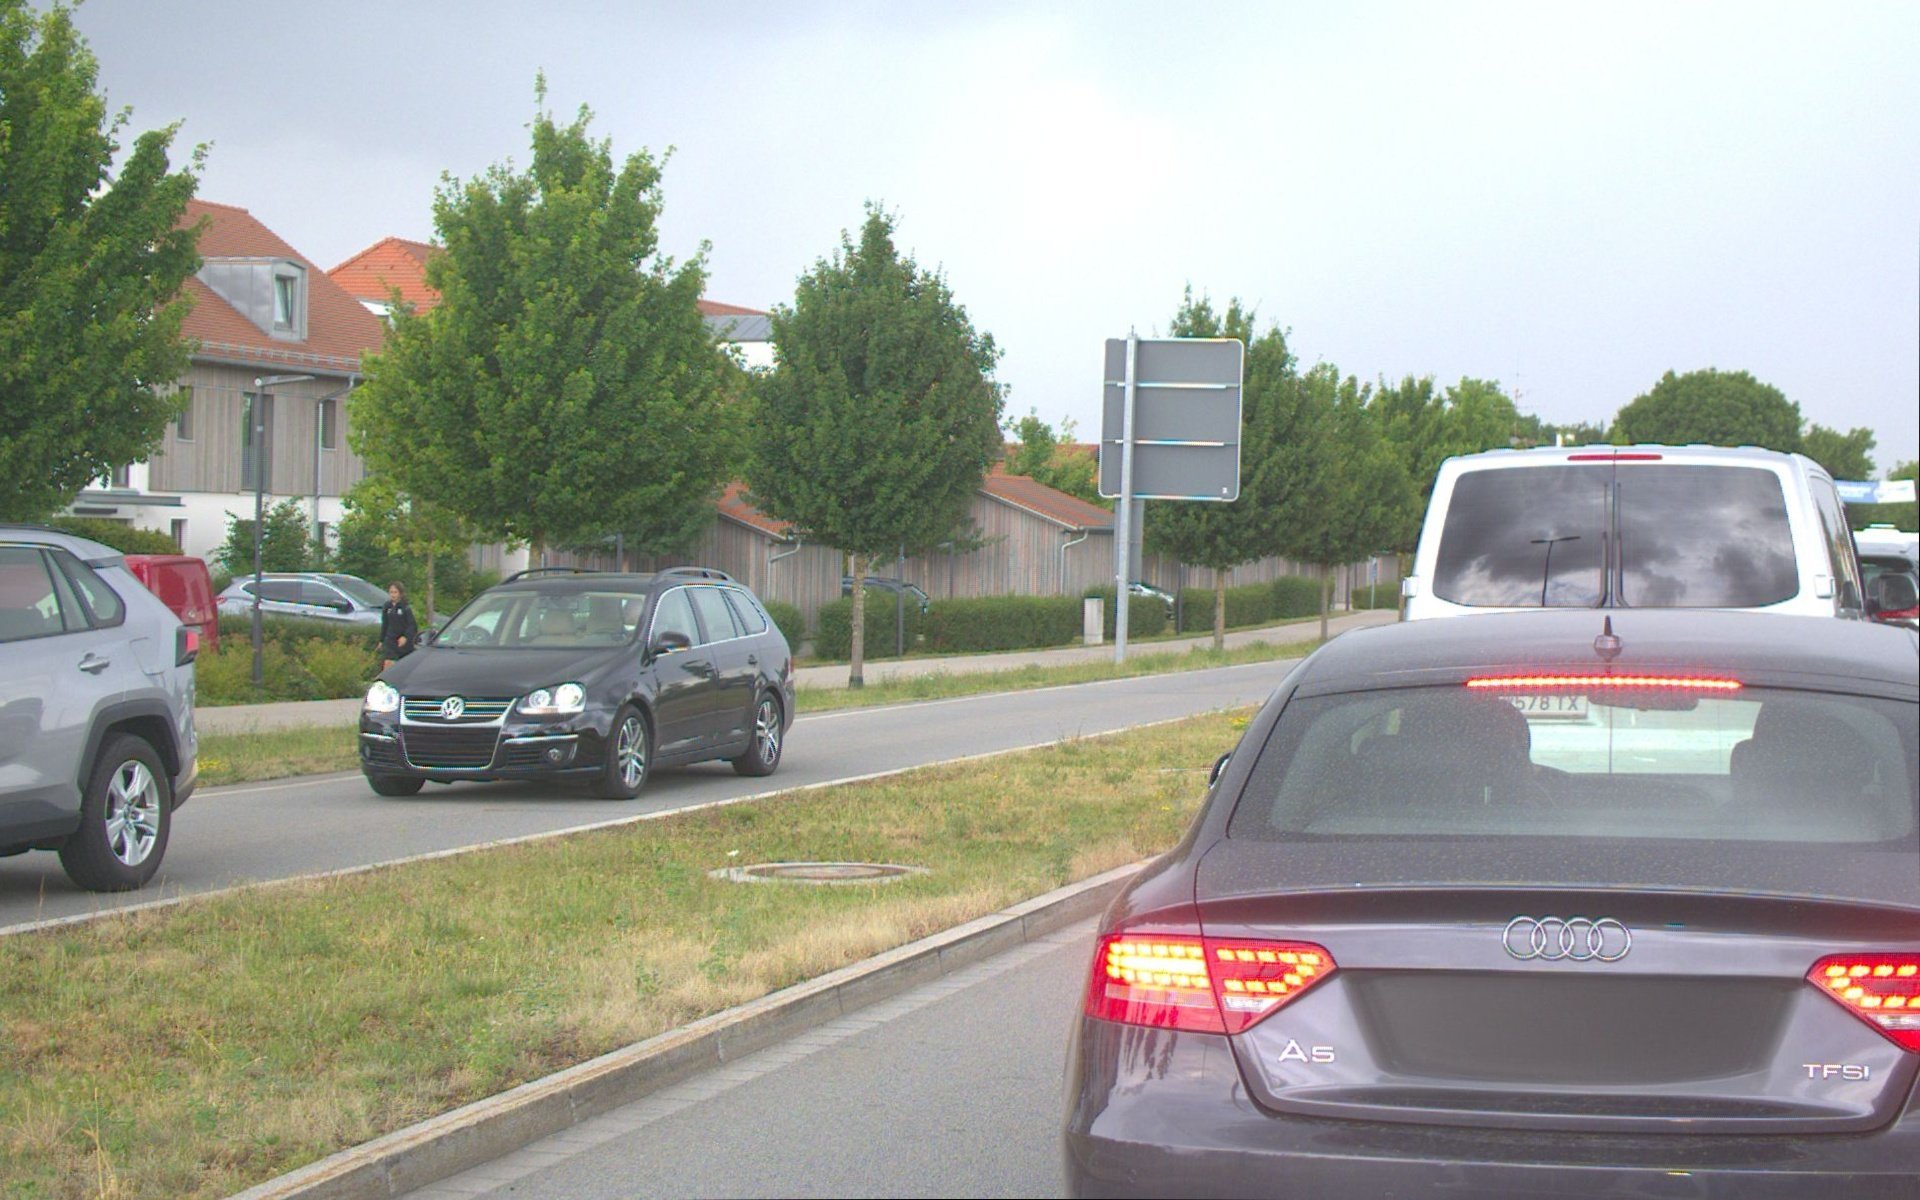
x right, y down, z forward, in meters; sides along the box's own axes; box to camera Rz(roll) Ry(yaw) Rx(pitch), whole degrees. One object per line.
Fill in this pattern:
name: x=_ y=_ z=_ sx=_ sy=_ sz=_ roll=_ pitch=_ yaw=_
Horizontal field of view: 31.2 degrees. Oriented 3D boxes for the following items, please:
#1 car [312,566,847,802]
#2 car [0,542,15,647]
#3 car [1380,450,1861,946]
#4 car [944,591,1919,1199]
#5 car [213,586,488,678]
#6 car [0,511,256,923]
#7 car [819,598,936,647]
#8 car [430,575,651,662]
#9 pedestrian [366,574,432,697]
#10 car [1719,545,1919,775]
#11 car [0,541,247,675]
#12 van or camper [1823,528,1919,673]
car: x=-2.413 y=0.486 z=23.042 sx=1.755 sy=1.411 sz=4.451 roll=0 pitch=0 yaw=20
car: x=-17.679 y=-0.129 z=56.222 sx=1.996 sy=1.766 sz=4.460 roll=2 pitch=0 yaw=21
car: x=3.063 y=0.355 z=15.516 sx=1.868 sy=1.927 sz=3.998 roll=0 pitch=1 yaw=14
car: x=1.342 y=0.726 z=6.949 sx=1.785 sy=1.387 sz=4.130 roll=2 pitch=1 yaw=14
car: x=-9.761 y=0.493 z=55.149 sx=3.917 sy=1.310 sz=1.841 roll=2 pitch=1 yaw=14
car: x=-4.965 y=0.471 z=14.295 sx=1.995 sy=1.698 sz=4.631 roll=1 pitch=1 yaw=17
car: x=-1.879 y=0.517 z=78.654 sx=2.473 sy=1.025 sz=1.185 roll=2 pitch=1 yaw=11
car: x=-7.866 y=0.337 z=64.583 sx=3.731 sy=1.477 sz=1.685 roll=2 pitch=1 yaw=13
pedestrian: x=-7.268 y=0.454 z=44.541 sx=0.582 sy=1.553 sz=0.659 roll=2 pitch=1 yaw=14
car: x=6.793 y=0.398 z=26.091 sx=1.778 sy=1.612 sz=3.997 roll=0 pitch=1 yaw=16
car: x=-12.288 y=0.066 z=47.052 sx=4.535 sy=1.674 sz=1.998 roll=2 pitch=1 yaw=19
van or camper: x=22.393 y=0.038 z=83.235 sx=2.627 sy=3.312 sz=6.816 roll=2 pitch=0 yaw=15
